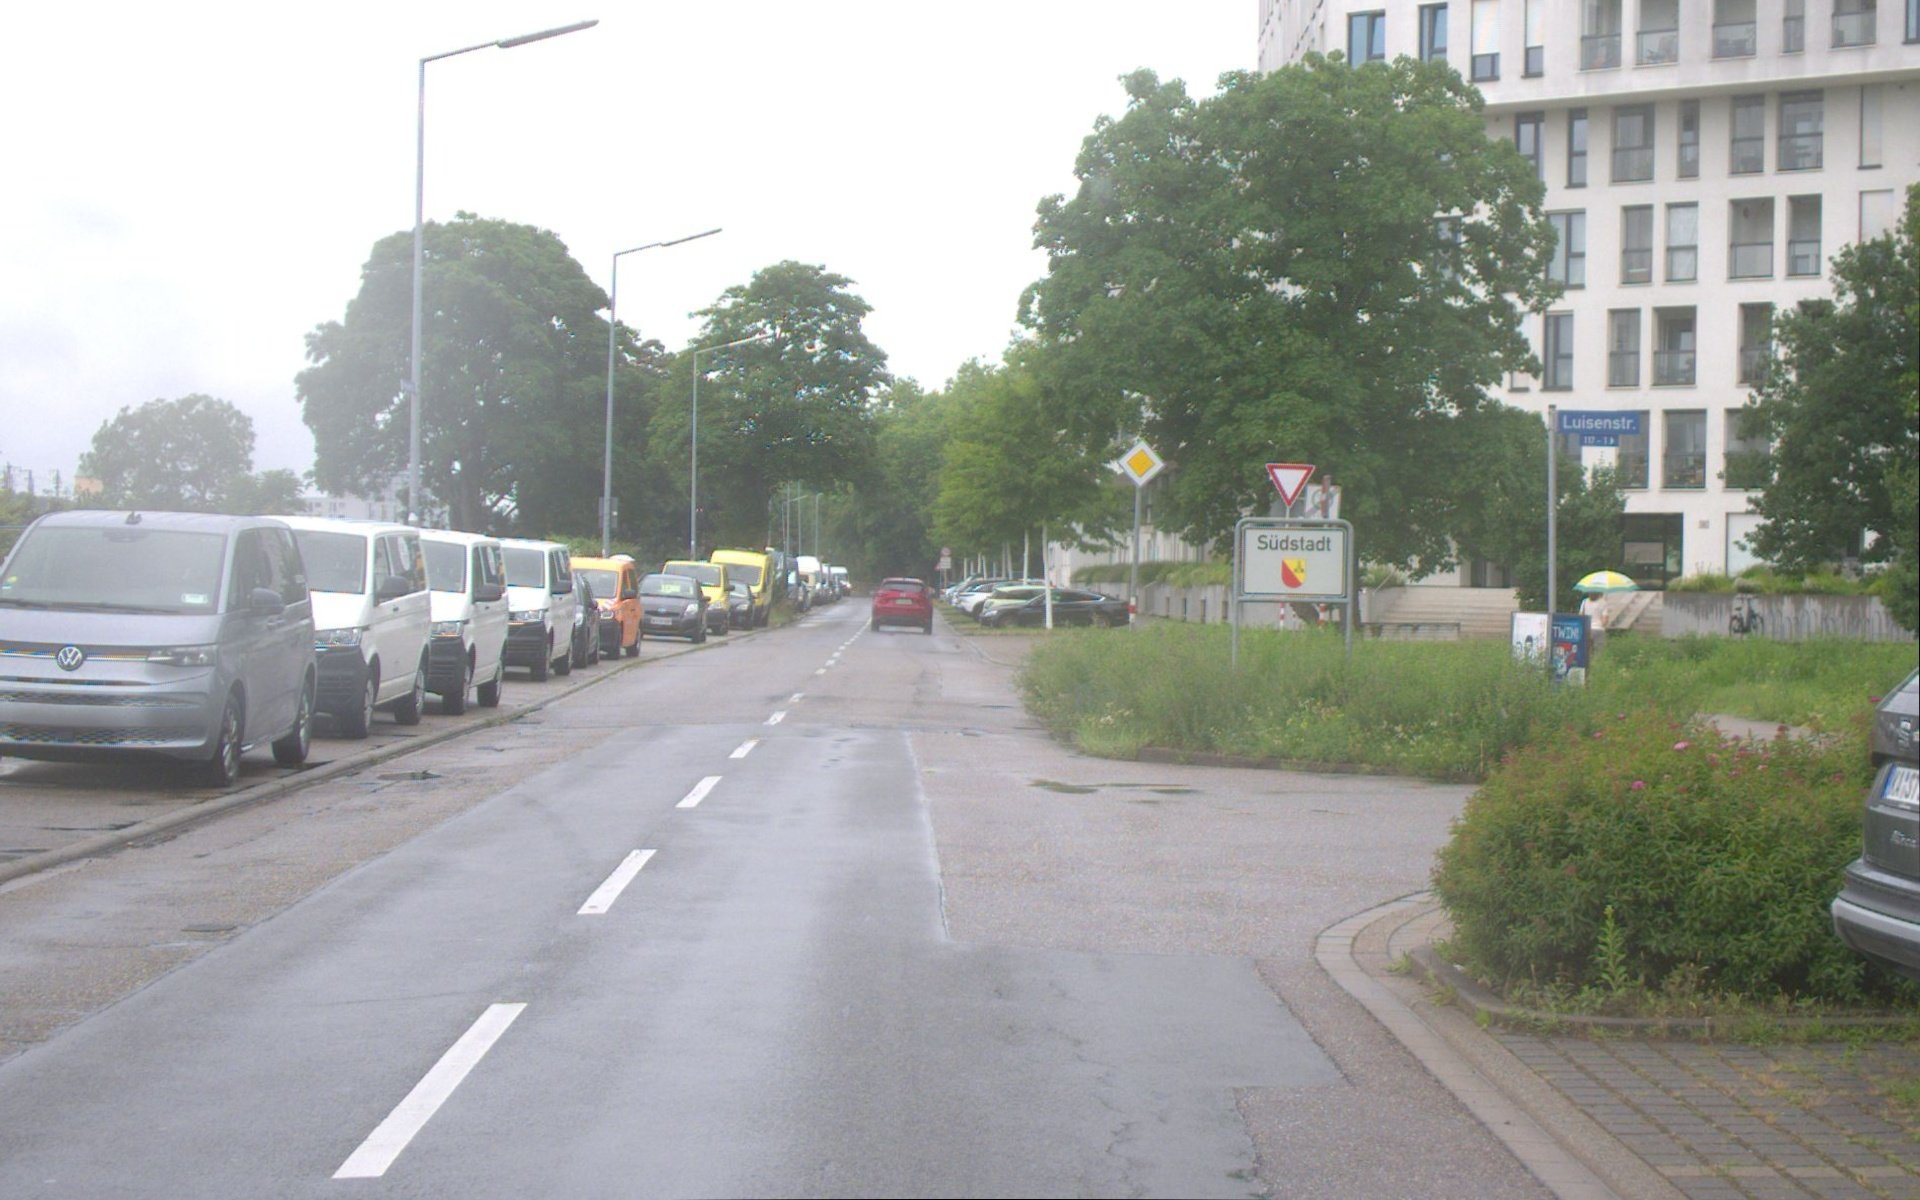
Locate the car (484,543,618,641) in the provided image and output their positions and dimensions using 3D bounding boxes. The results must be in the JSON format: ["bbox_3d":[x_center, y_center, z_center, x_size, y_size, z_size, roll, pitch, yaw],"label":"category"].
[{"bbox_3d":[-6.694,-0.159,56.633,1.683,1.497,4.892,2,1,-1],"label":"car"}]

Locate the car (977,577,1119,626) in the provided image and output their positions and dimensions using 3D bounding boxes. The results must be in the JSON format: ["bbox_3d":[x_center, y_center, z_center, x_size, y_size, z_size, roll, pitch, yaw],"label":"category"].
[{"bbox_3d":[2.815,0.050,110.649,4.487,1.476,1.692,-1,0,-1],"label":"car"}]

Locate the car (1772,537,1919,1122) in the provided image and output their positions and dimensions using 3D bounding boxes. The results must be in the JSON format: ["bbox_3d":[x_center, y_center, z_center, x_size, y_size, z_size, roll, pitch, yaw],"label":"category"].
[{"bbox_3d":[4.668,0.601,10.011,4.089,1.618,1.966,-1,0,-2],"label":"car"}]

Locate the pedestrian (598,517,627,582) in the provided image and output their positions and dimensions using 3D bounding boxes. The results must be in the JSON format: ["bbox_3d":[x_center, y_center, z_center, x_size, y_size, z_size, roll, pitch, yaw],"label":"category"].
[{"bbox_3d":[-10.924,-1.575,108.067,0.742,2.007,0.980,2,0,0],"label":"pedestrian"}]

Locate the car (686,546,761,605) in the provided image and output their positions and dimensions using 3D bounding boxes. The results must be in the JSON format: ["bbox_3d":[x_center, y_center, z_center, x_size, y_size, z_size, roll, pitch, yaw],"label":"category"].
[{"bbox_3d":[-7.090,-0.732,103.483,1.993,1.588,5.018,4,0,-2],"label":"car"}]

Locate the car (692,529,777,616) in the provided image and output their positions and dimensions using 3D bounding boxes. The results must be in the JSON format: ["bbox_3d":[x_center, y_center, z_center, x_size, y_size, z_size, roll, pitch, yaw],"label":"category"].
[{"bbox_3d":[-7.515,-0.920,115.222,2.192,2.685,6.081,4,0,1],"label":"car"}]

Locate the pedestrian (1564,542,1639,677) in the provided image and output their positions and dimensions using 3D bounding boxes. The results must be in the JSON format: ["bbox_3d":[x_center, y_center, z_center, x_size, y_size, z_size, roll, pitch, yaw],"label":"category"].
[{"bbox_3d":[9.682,0.137,51.888,0.965,2.007,0.623,1,1,0],"label":"pedestrian"}]

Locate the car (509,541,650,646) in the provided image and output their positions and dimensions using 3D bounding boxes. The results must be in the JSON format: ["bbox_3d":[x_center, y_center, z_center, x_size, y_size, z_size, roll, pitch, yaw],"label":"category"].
[{"bbox_3d":[-6.765,-0.142,61.517,1.940,1.761,4.331,2,1,1],"label":"car"}]

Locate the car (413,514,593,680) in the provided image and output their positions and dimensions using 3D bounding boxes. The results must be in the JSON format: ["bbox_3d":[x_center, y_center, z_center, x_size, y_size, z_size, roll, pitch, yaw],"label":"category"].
[{"bbox_3d":[-6.590,-0.088,50.107,1.942,2.228,5.558,2,1,-1],"label":"car"}]

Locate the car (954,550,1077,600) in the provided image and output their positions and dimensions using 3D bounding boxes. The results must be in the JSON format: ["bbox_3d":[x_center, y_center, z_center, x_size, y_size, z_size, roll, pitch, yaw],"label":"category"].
[{"bbox_3d":[2.136,-0.979,133.584,4.538,1.679,1.886,-3,1,-3],"label":"car"}]

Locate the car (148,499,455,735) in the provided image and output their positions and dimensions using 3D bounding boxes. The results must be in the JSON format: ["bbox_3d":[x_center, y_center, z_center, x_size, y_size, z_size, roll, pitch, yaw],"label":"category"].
[{"bbox_3d":[-6.145,0.111,32.687,1.895,2.007,5.258,2,1,0],"label":"car"}]

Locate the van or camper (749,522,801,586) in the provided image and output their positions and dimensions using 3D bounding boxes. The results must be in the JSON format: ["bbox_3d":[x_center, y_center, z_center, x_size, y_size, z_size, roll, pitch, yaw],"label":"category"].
[{"bbox_3d":[-8.364,-2.058,155.826,2.094,2.706,7.575,4,0,-3],"label":"van or camper"}]

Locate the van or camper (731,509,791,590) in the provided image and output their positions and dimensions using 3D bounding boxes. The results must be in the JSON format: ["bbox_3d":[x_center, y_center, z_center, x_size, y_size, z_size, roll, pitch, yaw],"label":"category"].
[{"bbox_3d":[-8.048,-1.999,139.514,2.094,3.084,6.424,4,0,-2],"label":"van or camper"}]

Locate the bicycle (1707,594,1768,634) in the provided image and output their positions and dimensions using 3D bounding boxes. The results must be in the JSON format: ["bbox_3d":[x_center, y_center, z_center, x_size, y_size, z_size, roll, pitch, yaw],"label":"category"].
[{"bbox_3d":[20.492,0.364,90.623,0.724,1.029,2.068,2,1,39],"label":"bicycle"}]

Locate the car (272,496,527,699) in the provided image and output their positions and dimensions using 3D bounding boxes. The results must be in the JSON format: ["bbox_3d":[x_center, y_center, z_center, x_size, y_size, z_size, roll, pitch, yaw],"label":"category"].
[{"bbox_3d":[-6.206,-0.064,38.670,1.960,2.051,5.274,2,1,0],"label":"car"}]

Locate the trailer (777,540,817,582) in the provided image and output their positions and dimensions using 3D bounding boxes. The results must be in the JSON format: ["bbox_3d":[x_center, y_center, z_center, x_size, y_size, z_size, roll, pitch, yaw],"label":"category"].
[{"bbox_3d":[-9.000,-2.154,189.805,2.058,2.210,5.795,3,1,-3],"label":"trailer"}]

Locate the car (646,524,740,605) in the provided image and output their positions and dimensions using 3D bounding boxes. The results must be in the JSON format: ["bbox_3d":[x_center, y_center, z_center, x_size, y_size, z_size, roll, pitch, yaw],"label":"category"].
[{"bbox_3d":[-7.045,-0.928,91.182,2.017,1.950,6.065,3,0,-1],"label":"car"}]

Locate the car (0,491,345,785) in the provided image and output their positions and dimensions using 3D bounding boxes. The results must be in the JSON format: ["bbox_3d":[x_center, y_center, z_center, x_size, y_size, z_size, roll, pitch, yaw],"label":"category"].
[{"bbox_3d":[-5.928,0.210,25.162,1.956,1.895,4.995,2,1,-1],"label":"car"}]

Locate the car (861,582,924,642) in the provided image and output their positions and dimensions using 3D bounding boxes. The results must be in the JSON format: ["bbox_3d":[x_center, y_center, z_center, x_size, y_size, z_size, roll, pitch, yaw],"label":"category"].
[{"bbox_3d":[-2.078,0.364,104.552,1.756,1.700,4.000,3,0,-2],"label":"car"}]

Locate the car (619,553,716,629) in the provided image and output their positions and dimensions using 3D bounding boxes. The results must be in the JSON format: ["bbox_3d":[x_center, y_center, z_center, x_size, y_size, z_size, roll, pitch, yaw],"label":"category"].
[{"bbox_3d":[-6.658,-0.232,78.491,1.804,1.556,4.033,4,1,-1],"label":"car"}]
